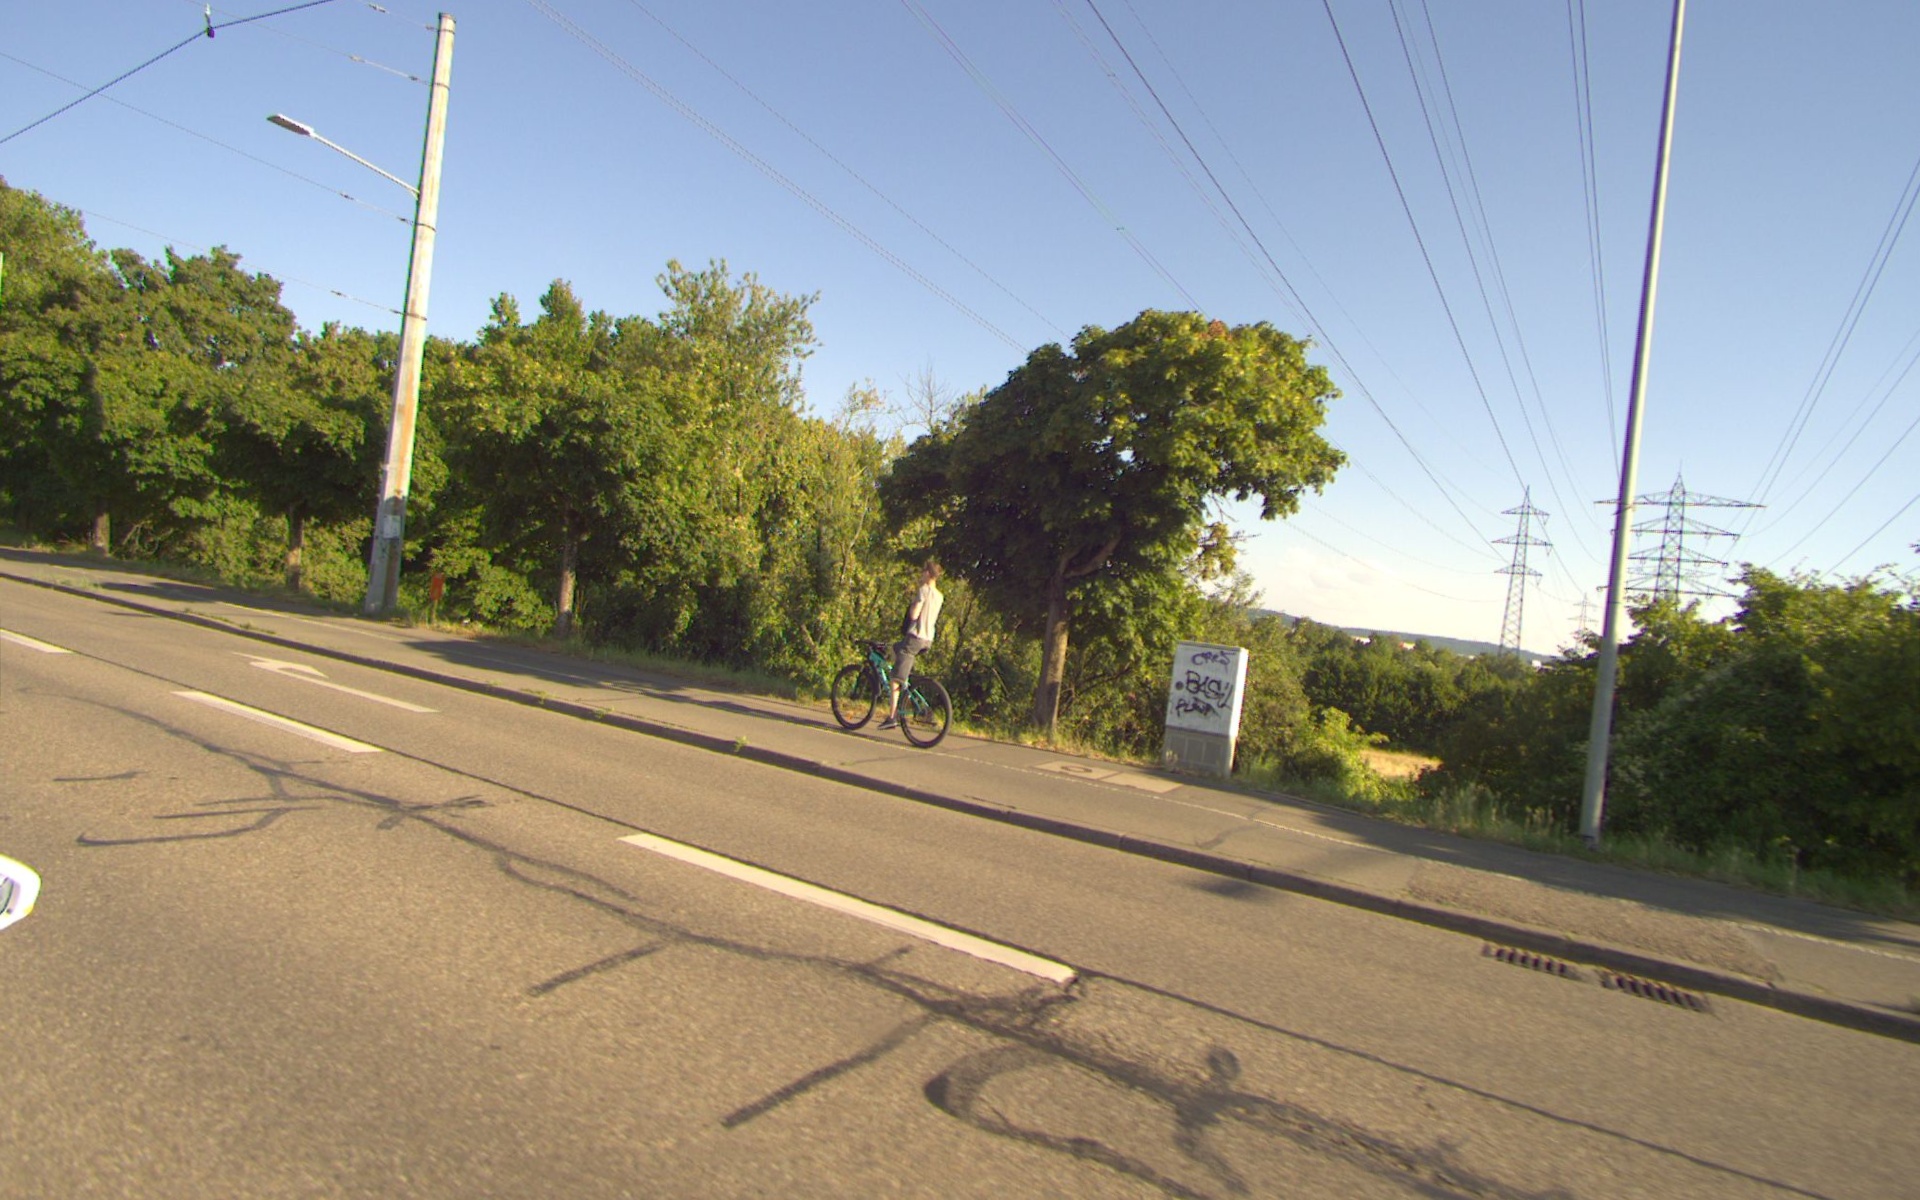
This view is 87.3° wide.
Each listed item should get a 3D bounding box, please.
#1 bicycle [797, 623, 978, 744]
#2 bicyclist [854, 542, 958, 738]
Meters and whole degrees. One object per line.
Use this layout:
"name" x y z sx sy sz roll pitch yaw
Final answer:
"bicycle" -0.828 0.906 11.131 1.939 1.072 0.528 6 -3 32
"bicyclist" -0.585 0.436 11.030 0.717 2.039 0.528 6 -2 32
